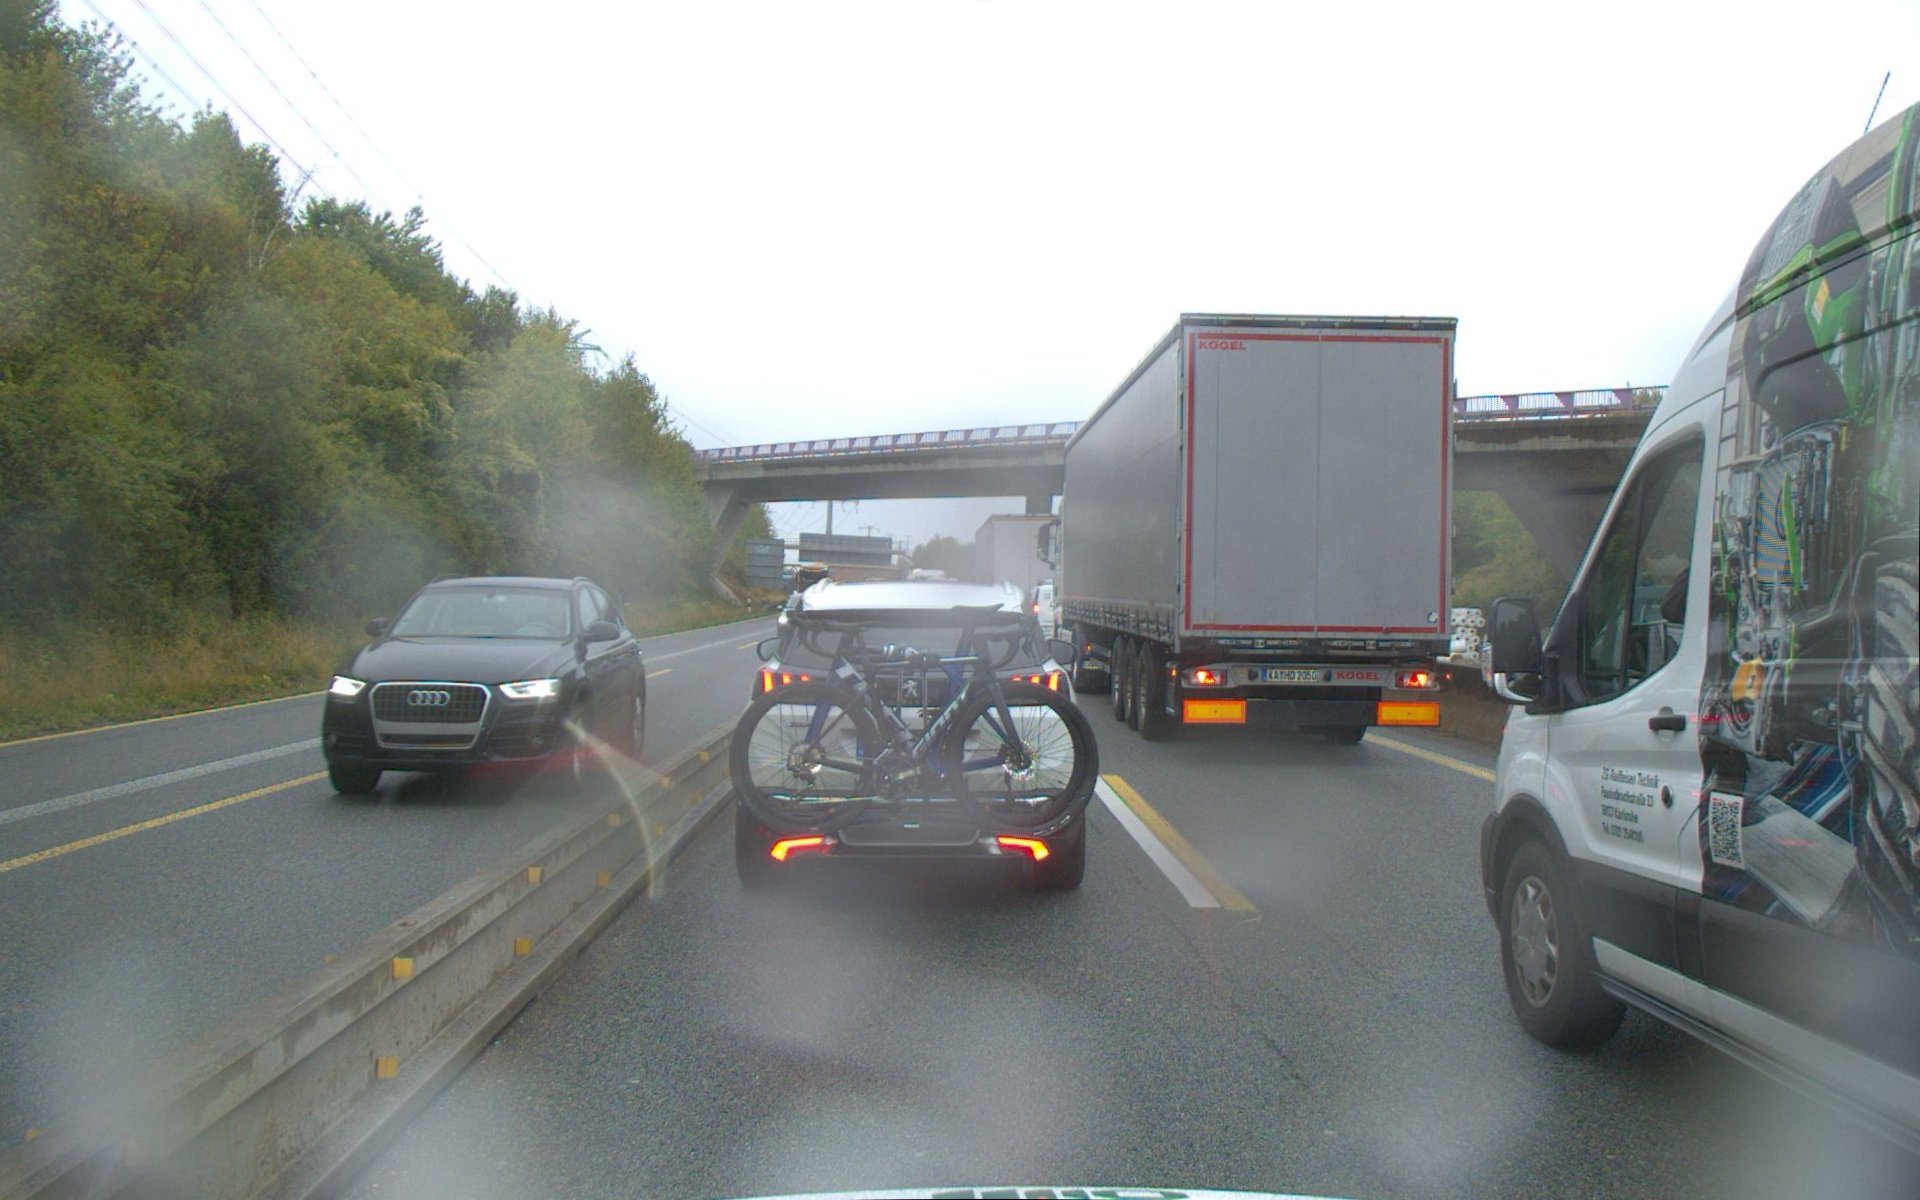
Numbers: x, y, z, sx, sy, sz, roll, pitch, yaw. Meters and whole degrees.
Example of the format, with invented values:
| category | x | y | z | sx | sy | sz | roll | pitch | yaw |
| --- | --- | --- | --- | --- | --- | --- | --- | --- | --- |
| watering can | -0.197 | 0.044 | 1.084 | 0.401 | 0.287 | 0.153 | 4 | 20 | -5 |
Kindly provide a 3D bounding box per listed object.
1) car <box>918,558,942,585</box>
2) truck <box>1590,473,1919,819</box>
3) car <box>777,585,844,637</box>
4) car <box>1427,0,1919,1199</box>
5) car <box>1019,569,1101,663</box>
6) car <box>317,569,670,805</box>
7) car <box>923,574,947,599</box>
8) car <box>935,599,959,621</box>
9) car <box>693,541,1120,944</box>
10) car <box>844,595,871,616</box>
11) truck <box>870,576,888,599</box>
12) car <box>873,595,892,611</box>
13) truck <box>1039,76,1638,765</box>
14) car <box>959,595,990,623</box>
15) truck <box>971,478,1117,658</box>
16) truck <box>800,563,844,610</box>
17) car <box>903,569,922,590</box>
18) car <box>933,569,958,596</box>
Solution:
| category | x | y | z | sx | sy | sz | roll | pitch | yaw |
| --- | --- | --- | --- | --- | --- | --- | --- | --- | --- |
| car | -2.767 | -2.666 | 154.868 | 2.193 | 2.348 | 4.571 | 1 | 0 | -1 |
| truck | 10.020 | 0.448 | 18.329 | 2.469 | 3.186 | 9.116 | 1 | 0 | -1 |
| car | -4.626 | 0.334 | 51.613 | 1.773 | 1.514 | 4.395 | 1 | 0 | -2 |
| car | 3.010 | 0.050 | 3.822 | 2.100 | 2.723 | 6.116 | 1 | 0 | 0 |
| car | 2.455 | 0.383 | 41.519 | 1.636 | 2.218 | 4.533 | 1 | 0 | -2 |
| car | -3.533 | 0.603 | 13.294 | 1.773 | 1.586 | 3.988 | 1 | 0 | -2 |
| car | -2.148 | -1.134 | 142.100 | 1.953 | 2.049 | 3.999 | 1 | 0 | -1 |
| car | -0.931 | 0.690 | 117.511 | 1.605 | 1.524 | 3.665 | 1 | 0 | -1 |
| car | -0.201 | 0.607 | 9.266 | 1.773 | 1.666 | 4.635 | 1 | 0 | 0 |
| car | -7.321 | 0.391 | 118.457 | 1.744 | 1.469 | 4.326 | 1 | 0 | -2 |
| truck | -12.613 | -1.968 | 258.648 | 2.484 | 3.411 | 12.046 | 1 | 0 | -1 |
| car | -7.016 | 0.285 | 149.447 | 1.652 | 1.434 | 3.928 | 1 | 0 | -2 |
| truck | 3.697 | -1.479 | 24.181 | 3.898 | 5.772 | 20.372 | 1 | 0 | 0 |
| car | 0.776 | 0.495 | 91.512 | 1.605 | 1.524 | 3.665 | 1 | 0 | -1 |
| truck | 2.814 | -0.996 | 63.700 | 4.645 | 5.772 | 20.376 | 1 | 0 | 0 |
| truck | -11.280 | -1.036 | 135.764 | 2.627 | 3.720 | 12.309 | 1 | 0 | 0 |
| car | -4.992 | -2.135 | 174.086 | 1.953 | 2.164 | 4.526 | 1 | 0 | -1 |
| car | -1.125 | -1.370 | 129.627 | 1.953 | 2.049 | 3.999 | 1 | 0 | -1 |
